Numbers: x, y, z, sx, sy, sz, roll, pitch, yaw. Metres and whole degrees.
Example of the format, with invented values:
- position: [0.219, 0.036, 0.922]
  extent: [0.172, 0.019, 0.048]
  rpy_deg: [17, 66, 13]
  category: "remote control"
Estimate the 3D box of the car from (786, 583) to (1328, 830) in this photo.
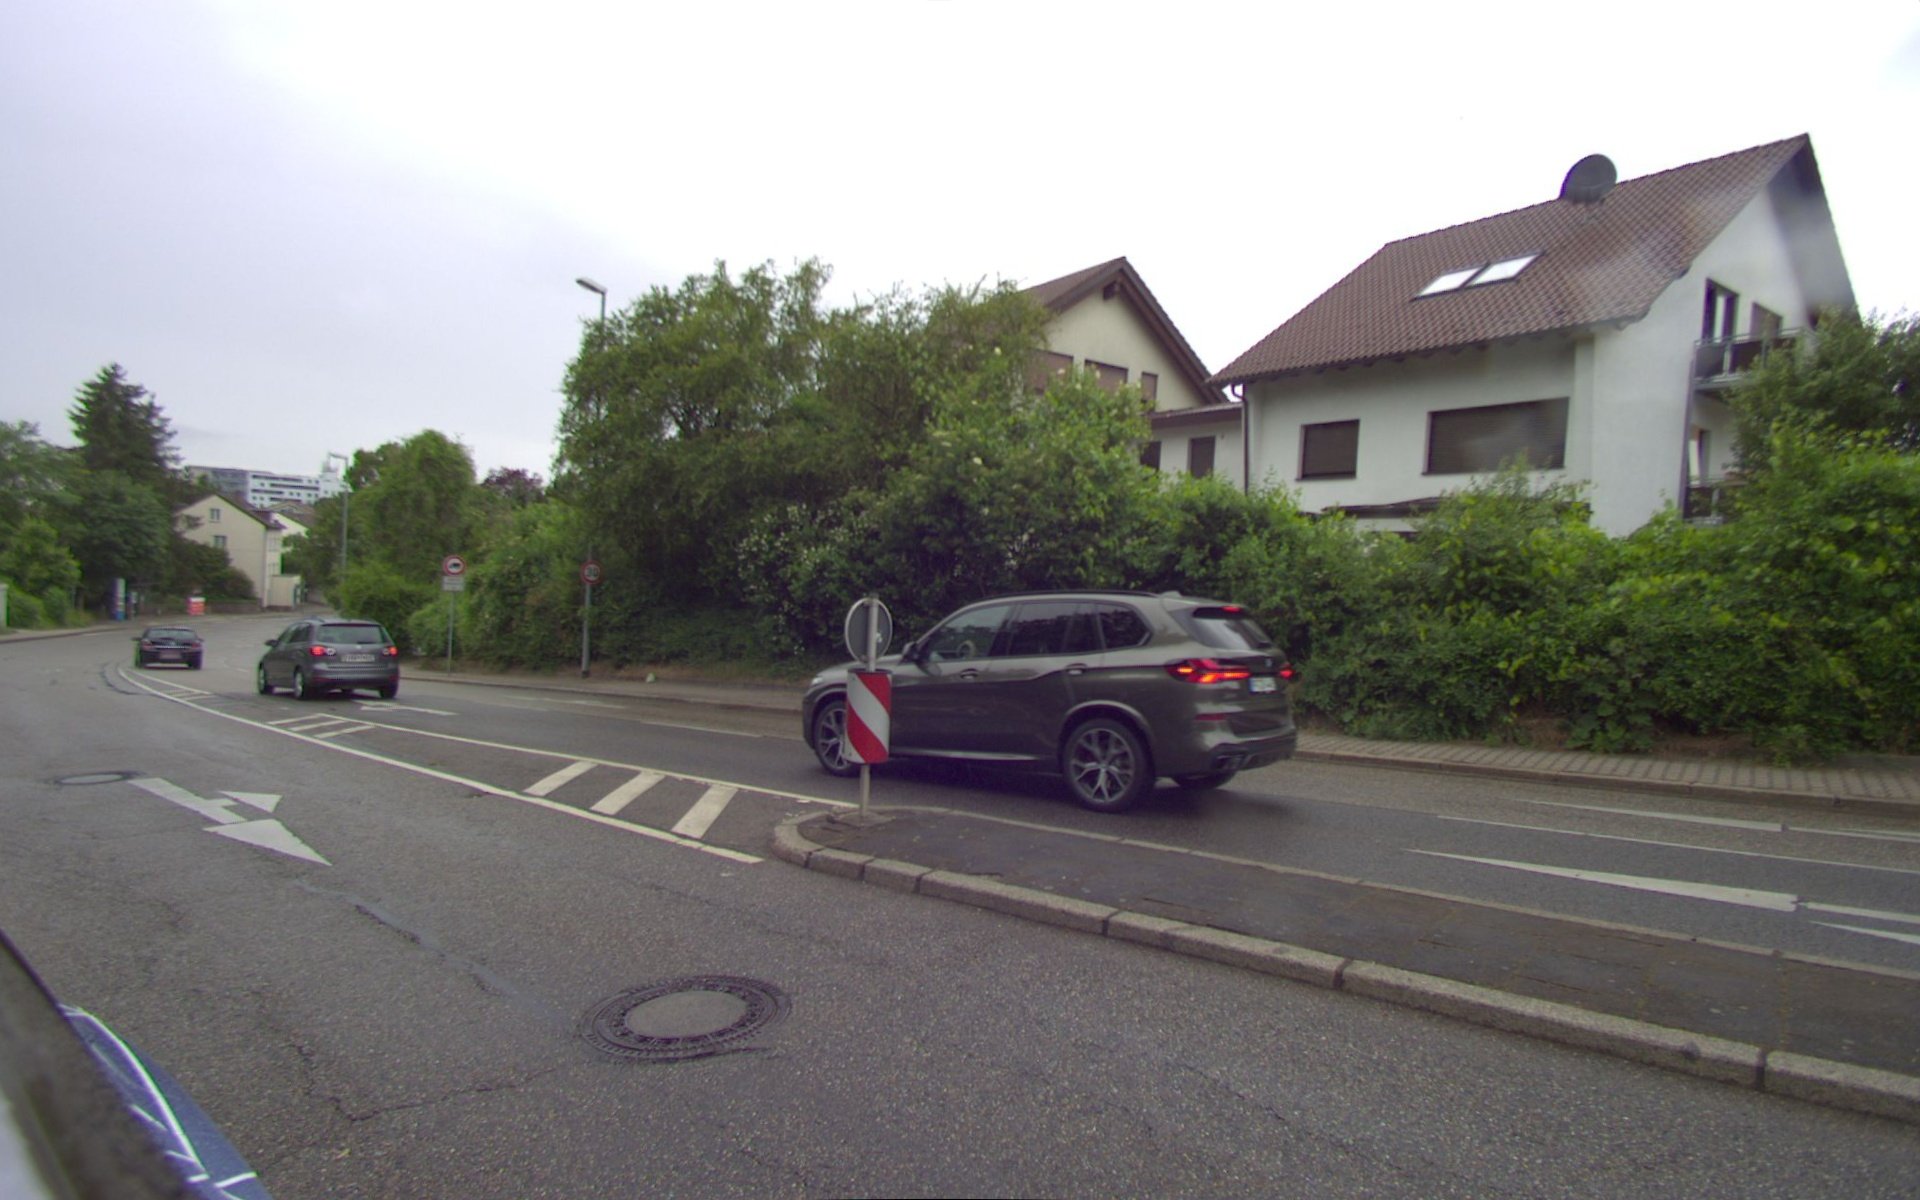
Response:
- position: [0.714, 0.812, 9.385]
  extent: [4.712, 1.730, 1.974]
  rpy_deg: [-1, -3, 39]
  category: "car"

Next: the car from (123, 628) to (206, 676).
- position: [-27.163, 1.730, 34.508]
  extent: [1.872, 1.521, 4.004]
  rpy_deg: [3, -3, -43]
  category: "car"

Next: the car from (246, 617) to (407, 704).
- position: [-13.046, 1.192, 20.750]
  extent: [4.031, 1.614, 1.724]
  rpy_deg: [-1, -3, 42]
  category: "car"
